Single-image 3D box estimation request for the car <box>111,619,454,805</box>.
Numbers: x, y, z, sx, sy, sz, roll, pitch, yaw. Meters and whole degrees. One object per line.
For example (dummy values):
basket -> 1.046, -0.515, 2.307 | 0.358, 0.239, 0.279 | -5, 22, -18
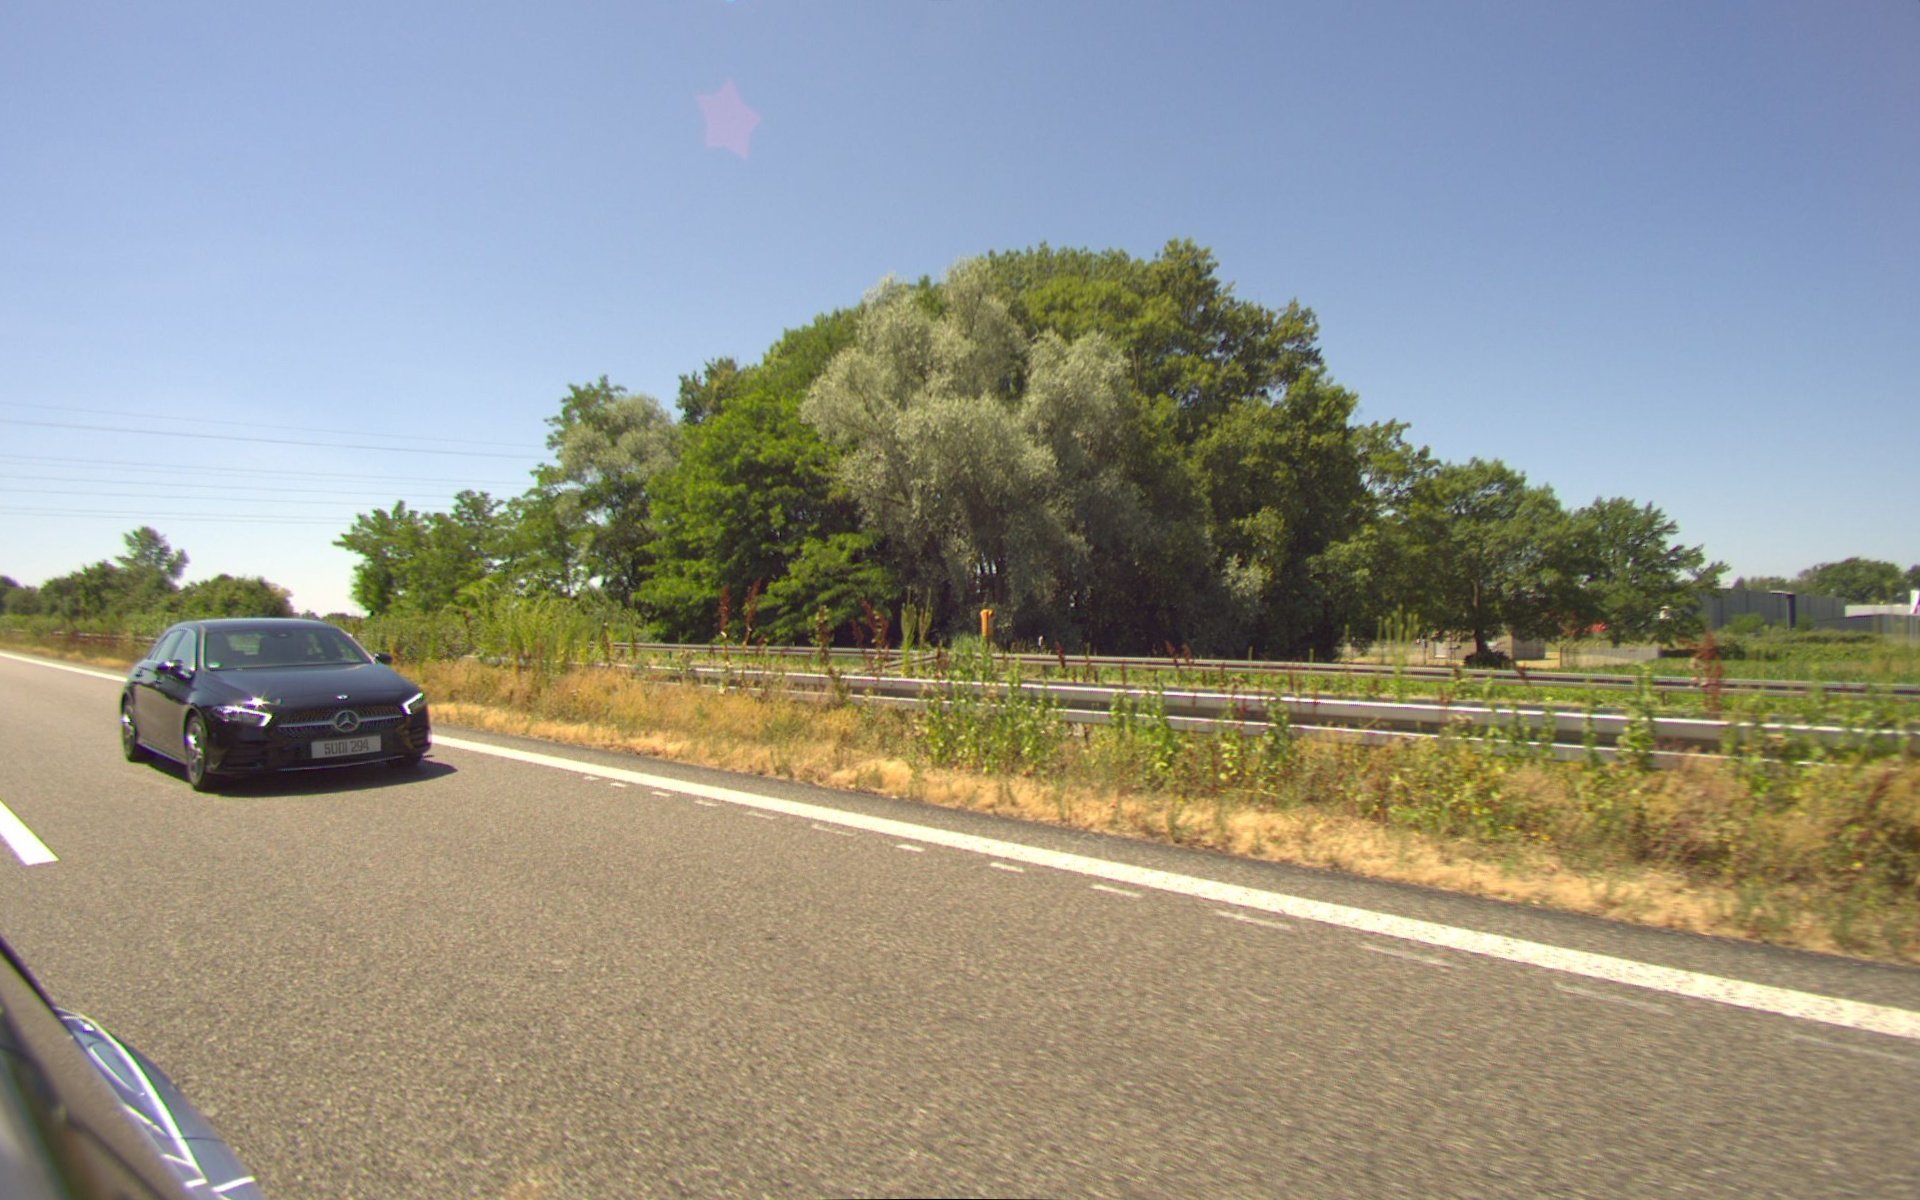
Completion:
car -> -6.666, 0.899, 9.790 | 4.050, 1.422, 1.773 | -1, -1, 41
